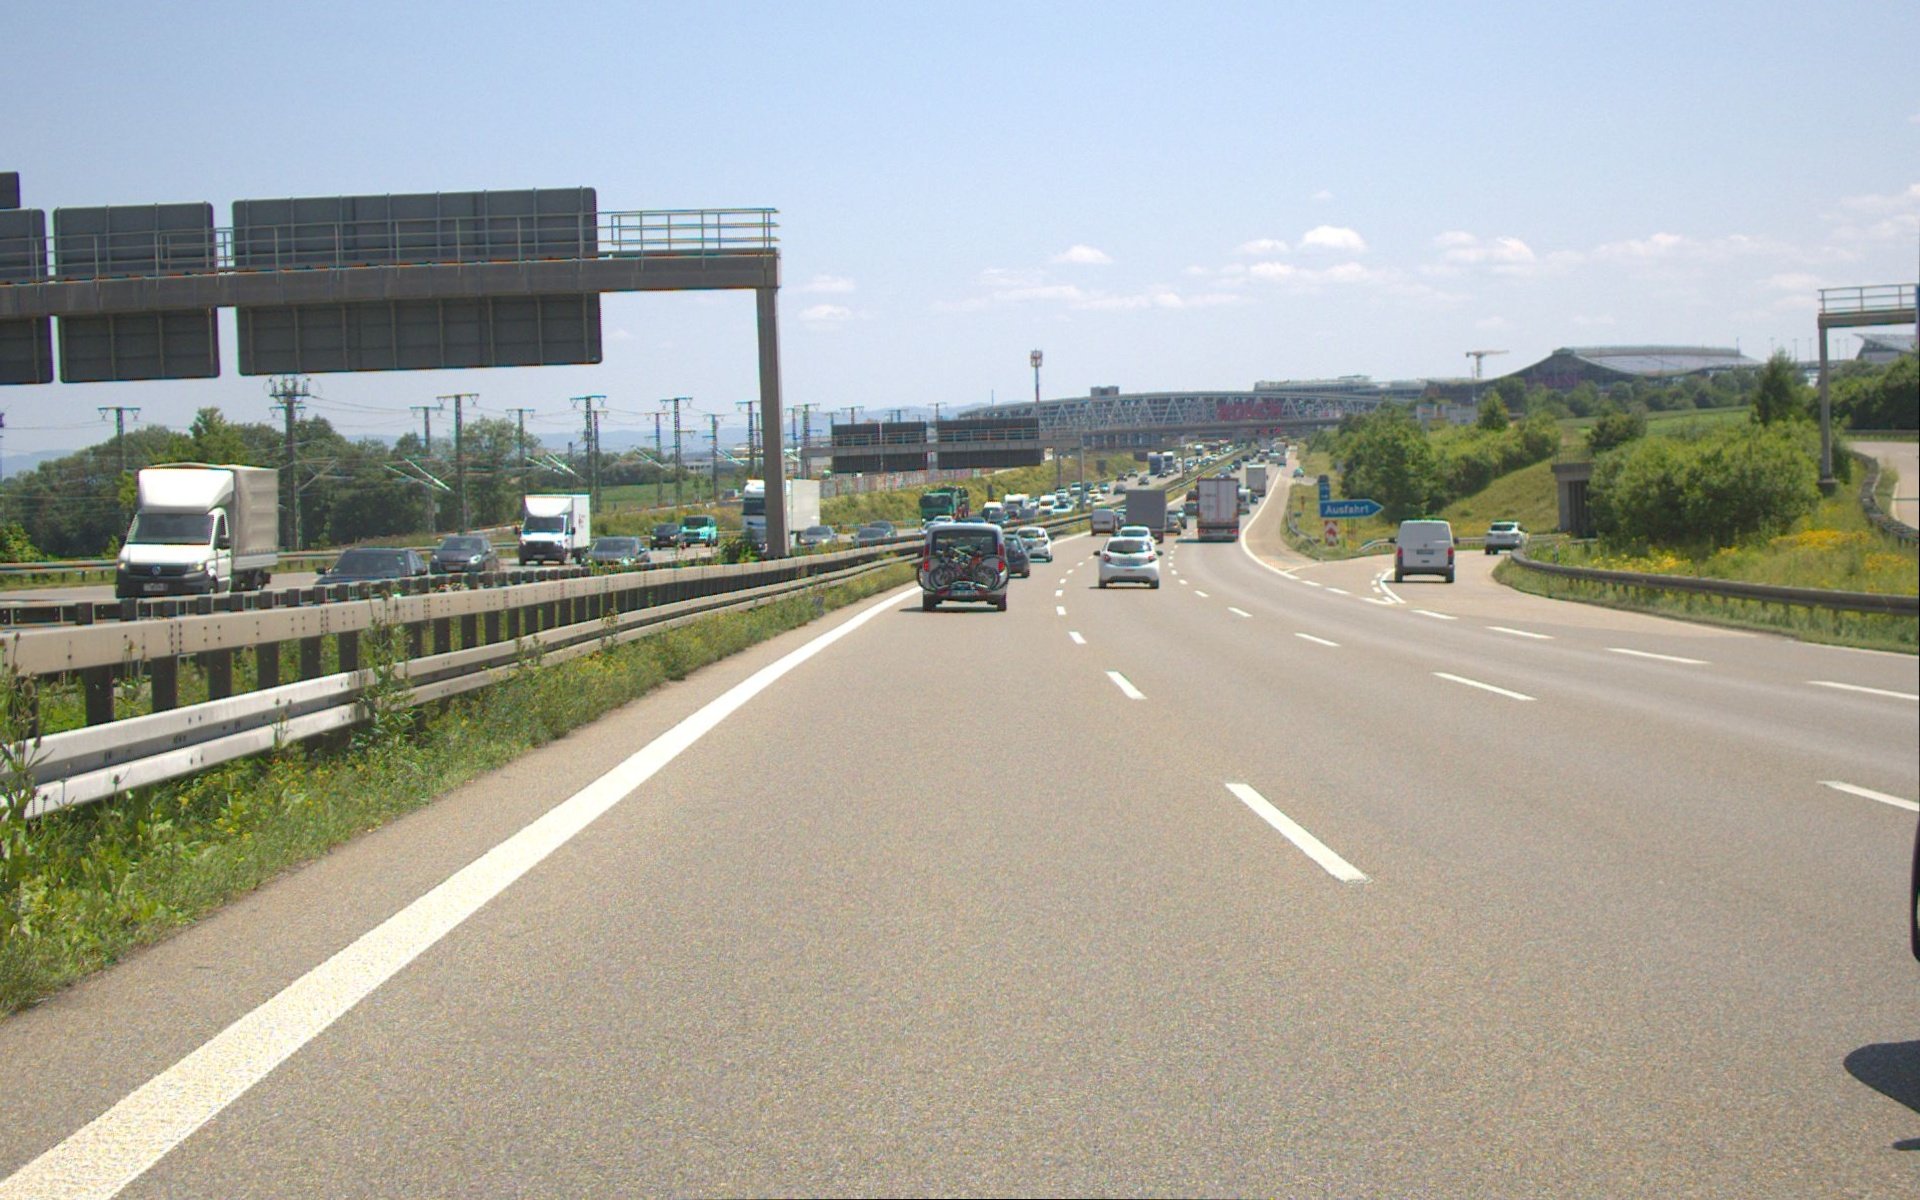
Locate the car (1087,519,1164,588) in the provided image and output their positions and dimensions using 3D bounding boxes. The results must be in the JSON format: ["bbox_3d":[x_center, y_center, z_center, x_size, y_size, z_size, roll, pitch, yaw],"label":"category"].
[{"bbox_3d":[4.699,-1.310,97.976,1.926,1.912,4.518,0,1,0],"label":"car"}]

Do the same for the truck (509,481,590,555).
[{"bbox_3d":[-17.840,-3.578,149.731,2.320,3.156,8.113,0,1,2],"label":"truck"}]

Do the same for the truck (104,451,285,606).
[{"bbox_3d":[-16.823,-1.546,76.002,2.376,3.266,7.661,0,1,-1],"label":"truck"}]

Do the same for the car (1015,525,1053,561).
[{"bbox_3d":[3.223,-2.456,148.999,1.576,1.547,3.964,0,1,2],"label":"car"}]

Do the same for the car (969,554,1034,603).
[{"bbox_3d":[1.393,-0.727,114.286,1.927,1.621,4.517,0,1,4],"label":"car"}]

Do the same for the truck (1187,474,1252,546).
[{"bbox_3d":[16.379,-5.768,217.718,4.040,4.247,11.757,0,3,4],"label":"truck"}]

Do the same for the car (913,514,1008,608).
[{"bbox_3d":[-0.016,-0.813,72.185,1.926,1.912,4.948,0,1,0],"label":"car"}]

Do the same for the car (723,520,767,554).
[{"bbox_3d":[-10.068,-2.983,161.272,1.742,1.555,4.000,0,1,1],"label":"car"}]

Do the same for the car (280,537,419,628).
[{"bbox_3d":[-11.166,-0.338,63.171,1.748,1.619,4.831,0,1,-1],"label":"car"}]

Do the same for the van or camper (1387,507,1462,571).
[{"bbox_3d":[14.837,-1.928,110.010,2.156,2.007,4.303,0,1,5],"label":"van or camper"}]

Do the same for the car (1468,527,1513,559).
[{"bbox_3d":[27.893,-2.986,180.779,1.994,1.688,4.000,0,1,4],"label":"car"}]

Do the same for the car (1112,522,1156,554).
[{"bbox_3d":[8.038,-2.854,158.482,1.982,1.468,4.000,0,1,4],"label":"car"}]

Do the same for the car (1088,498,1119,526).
[{"bbox_3d":[10.122,-6.232,242.999,2.186,1.996,4.000,0,2,2],"label":"car"}]

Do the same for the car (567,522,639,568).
[{"bbox_3d":[-11.791,-1.822,113.743,1.790,1.459,4.859,0,1,1],"label":"car"}]

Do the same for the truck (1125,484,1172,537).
[{"bbox_3d":[11.617,-5.453,211.275,2.703,3.098,10.658,0,1,4],"label":"truck"}]

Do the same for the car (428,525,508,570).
[{"bbox_3d":[-15.792,-1.695,110.438,1.905,1.415,4.000,0,1,1],"label":"car"}]

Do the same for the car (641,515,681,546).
[{"bbox_3d":[-17.523,-4.072,201.756,1.805,1.742,4.000,0,1,3],"label":"car"}]

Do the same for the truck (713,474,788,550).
[{"bbox_3d":[-11.827,-4.969,194.800,3.248,4.195,7.692,0,1,4],"label":"truck"}]

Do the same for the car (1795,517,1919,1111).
[{"bbox_3d":[3.637,0.605,8.289,1.898,1.641,4.999,0,1,-2],"label":"car"}]
